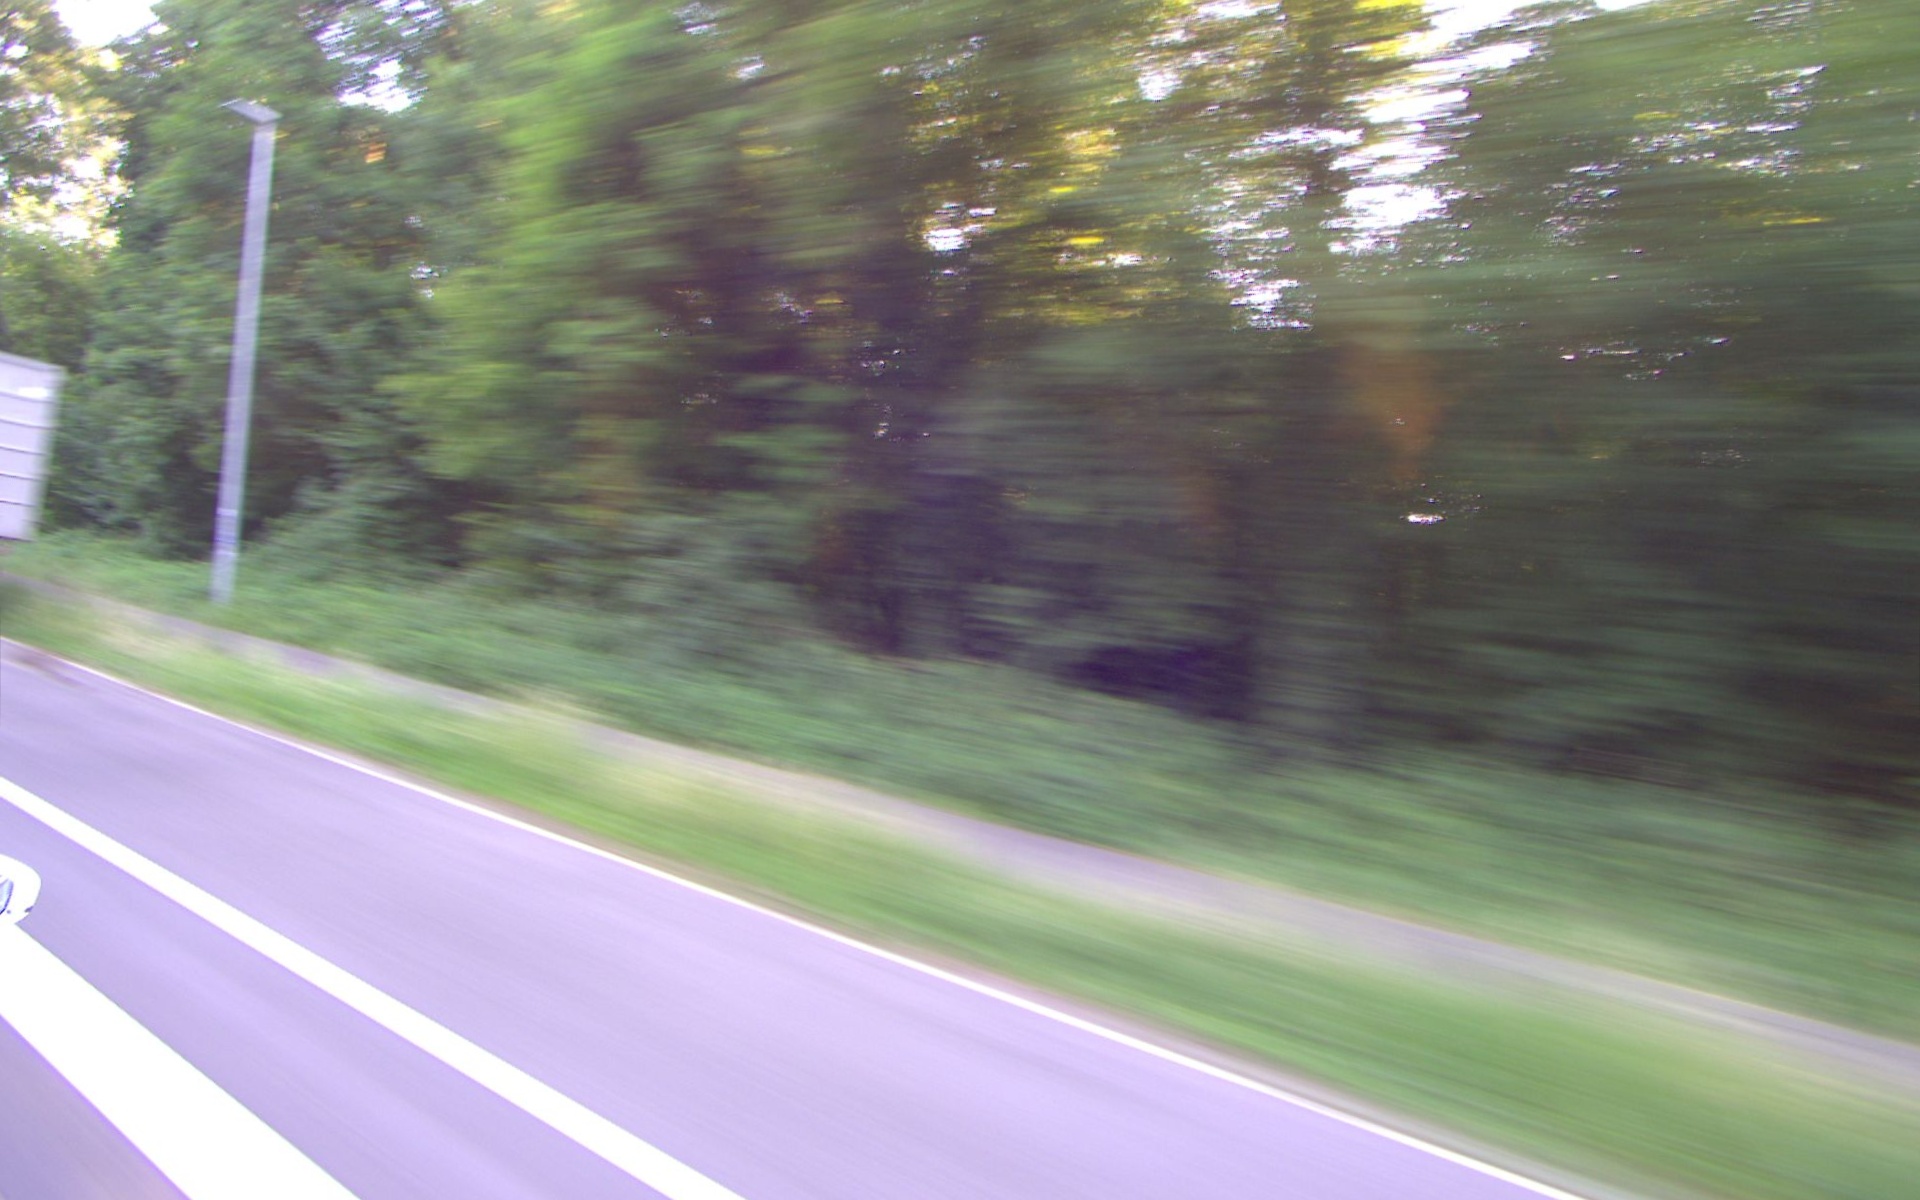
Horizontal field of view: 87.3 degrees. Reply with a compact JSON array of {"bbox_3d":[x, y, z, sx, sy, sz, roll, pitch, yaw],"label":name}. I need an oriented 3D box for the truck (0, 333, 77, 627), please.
[{"bbox_3d":[-14.322,-1.765,12.743,7.102,3.293,2.593,6,-1,33],"label":"truck"}]
